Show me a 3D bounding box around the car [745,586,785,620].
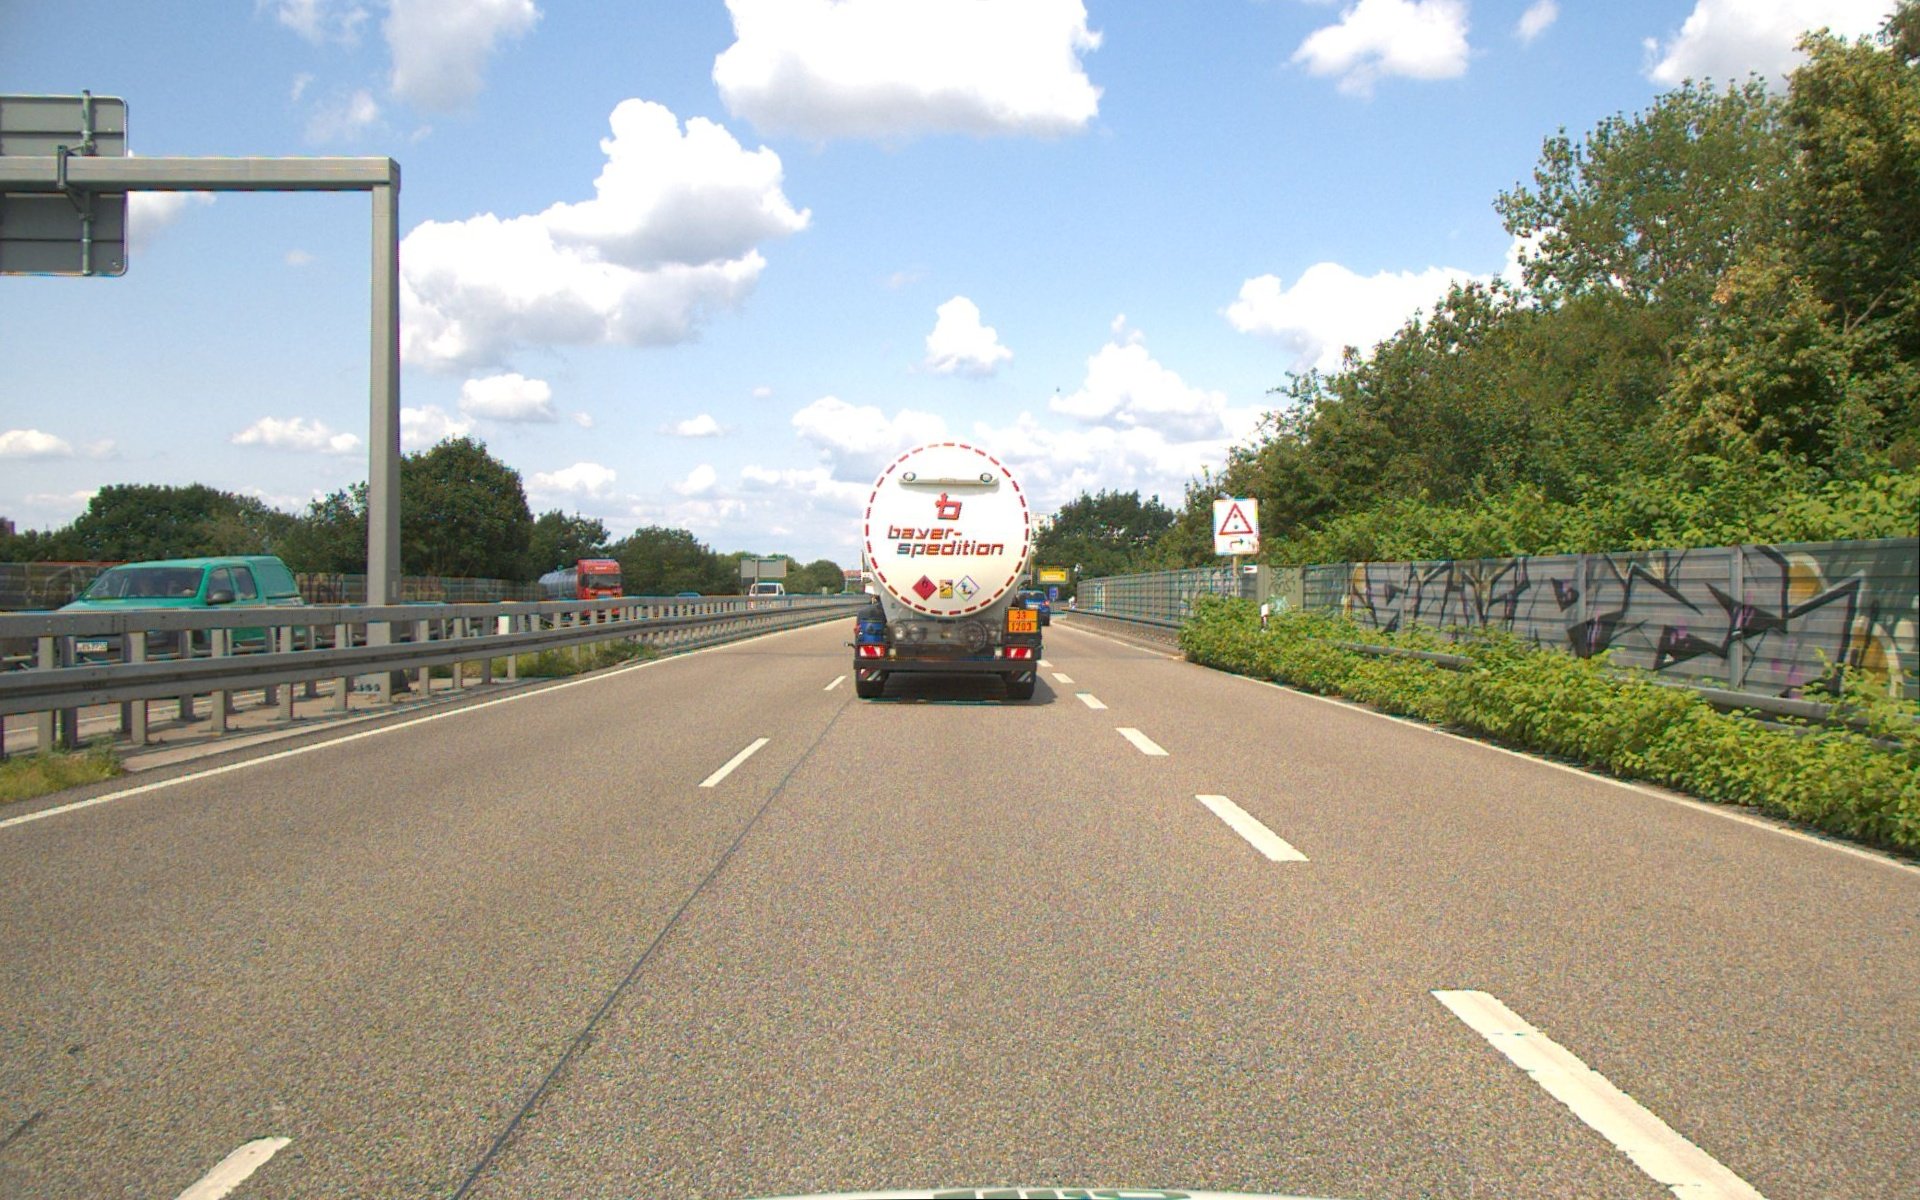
[{"bbox_3d":[-11.977,0.179,101.927,2.038,2.024,5.226,1,0,-3],"label":"car"}]

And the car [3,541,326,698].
[{"bbox_3d":[-10.917,0.249,23.249,1.953,1.896,5.391,1,0,-1],"label":"car"}]

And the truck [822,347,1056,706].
[{"bbox_3d":[-0.300,-0.913,24.825,2.836,4.445,8.028,1,0,-1],"label":"truck"}]

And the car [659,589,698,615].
[{"bbox_3d":[-16.331,0.119,96.166,1.655,1.456,4.400,1,0,-3],"label":"car"}]

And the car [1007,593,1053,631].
[{"bbox_3d":[3.296,0.554,78.596,1.953,1.736,3.999,1,0,-1],"label":"car"}]

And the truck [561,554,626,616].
[{"bbox_3d":[-23.821,-0.971,107.414,2.616,3.848,6.179,2,0,-27],"label":"truck"}]

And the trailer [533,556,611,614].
[{"bbox_3d":[-26.573,-1.044,112.932,2.652,3.734,10.932,2,0,-27],"label":"trailer"}]
